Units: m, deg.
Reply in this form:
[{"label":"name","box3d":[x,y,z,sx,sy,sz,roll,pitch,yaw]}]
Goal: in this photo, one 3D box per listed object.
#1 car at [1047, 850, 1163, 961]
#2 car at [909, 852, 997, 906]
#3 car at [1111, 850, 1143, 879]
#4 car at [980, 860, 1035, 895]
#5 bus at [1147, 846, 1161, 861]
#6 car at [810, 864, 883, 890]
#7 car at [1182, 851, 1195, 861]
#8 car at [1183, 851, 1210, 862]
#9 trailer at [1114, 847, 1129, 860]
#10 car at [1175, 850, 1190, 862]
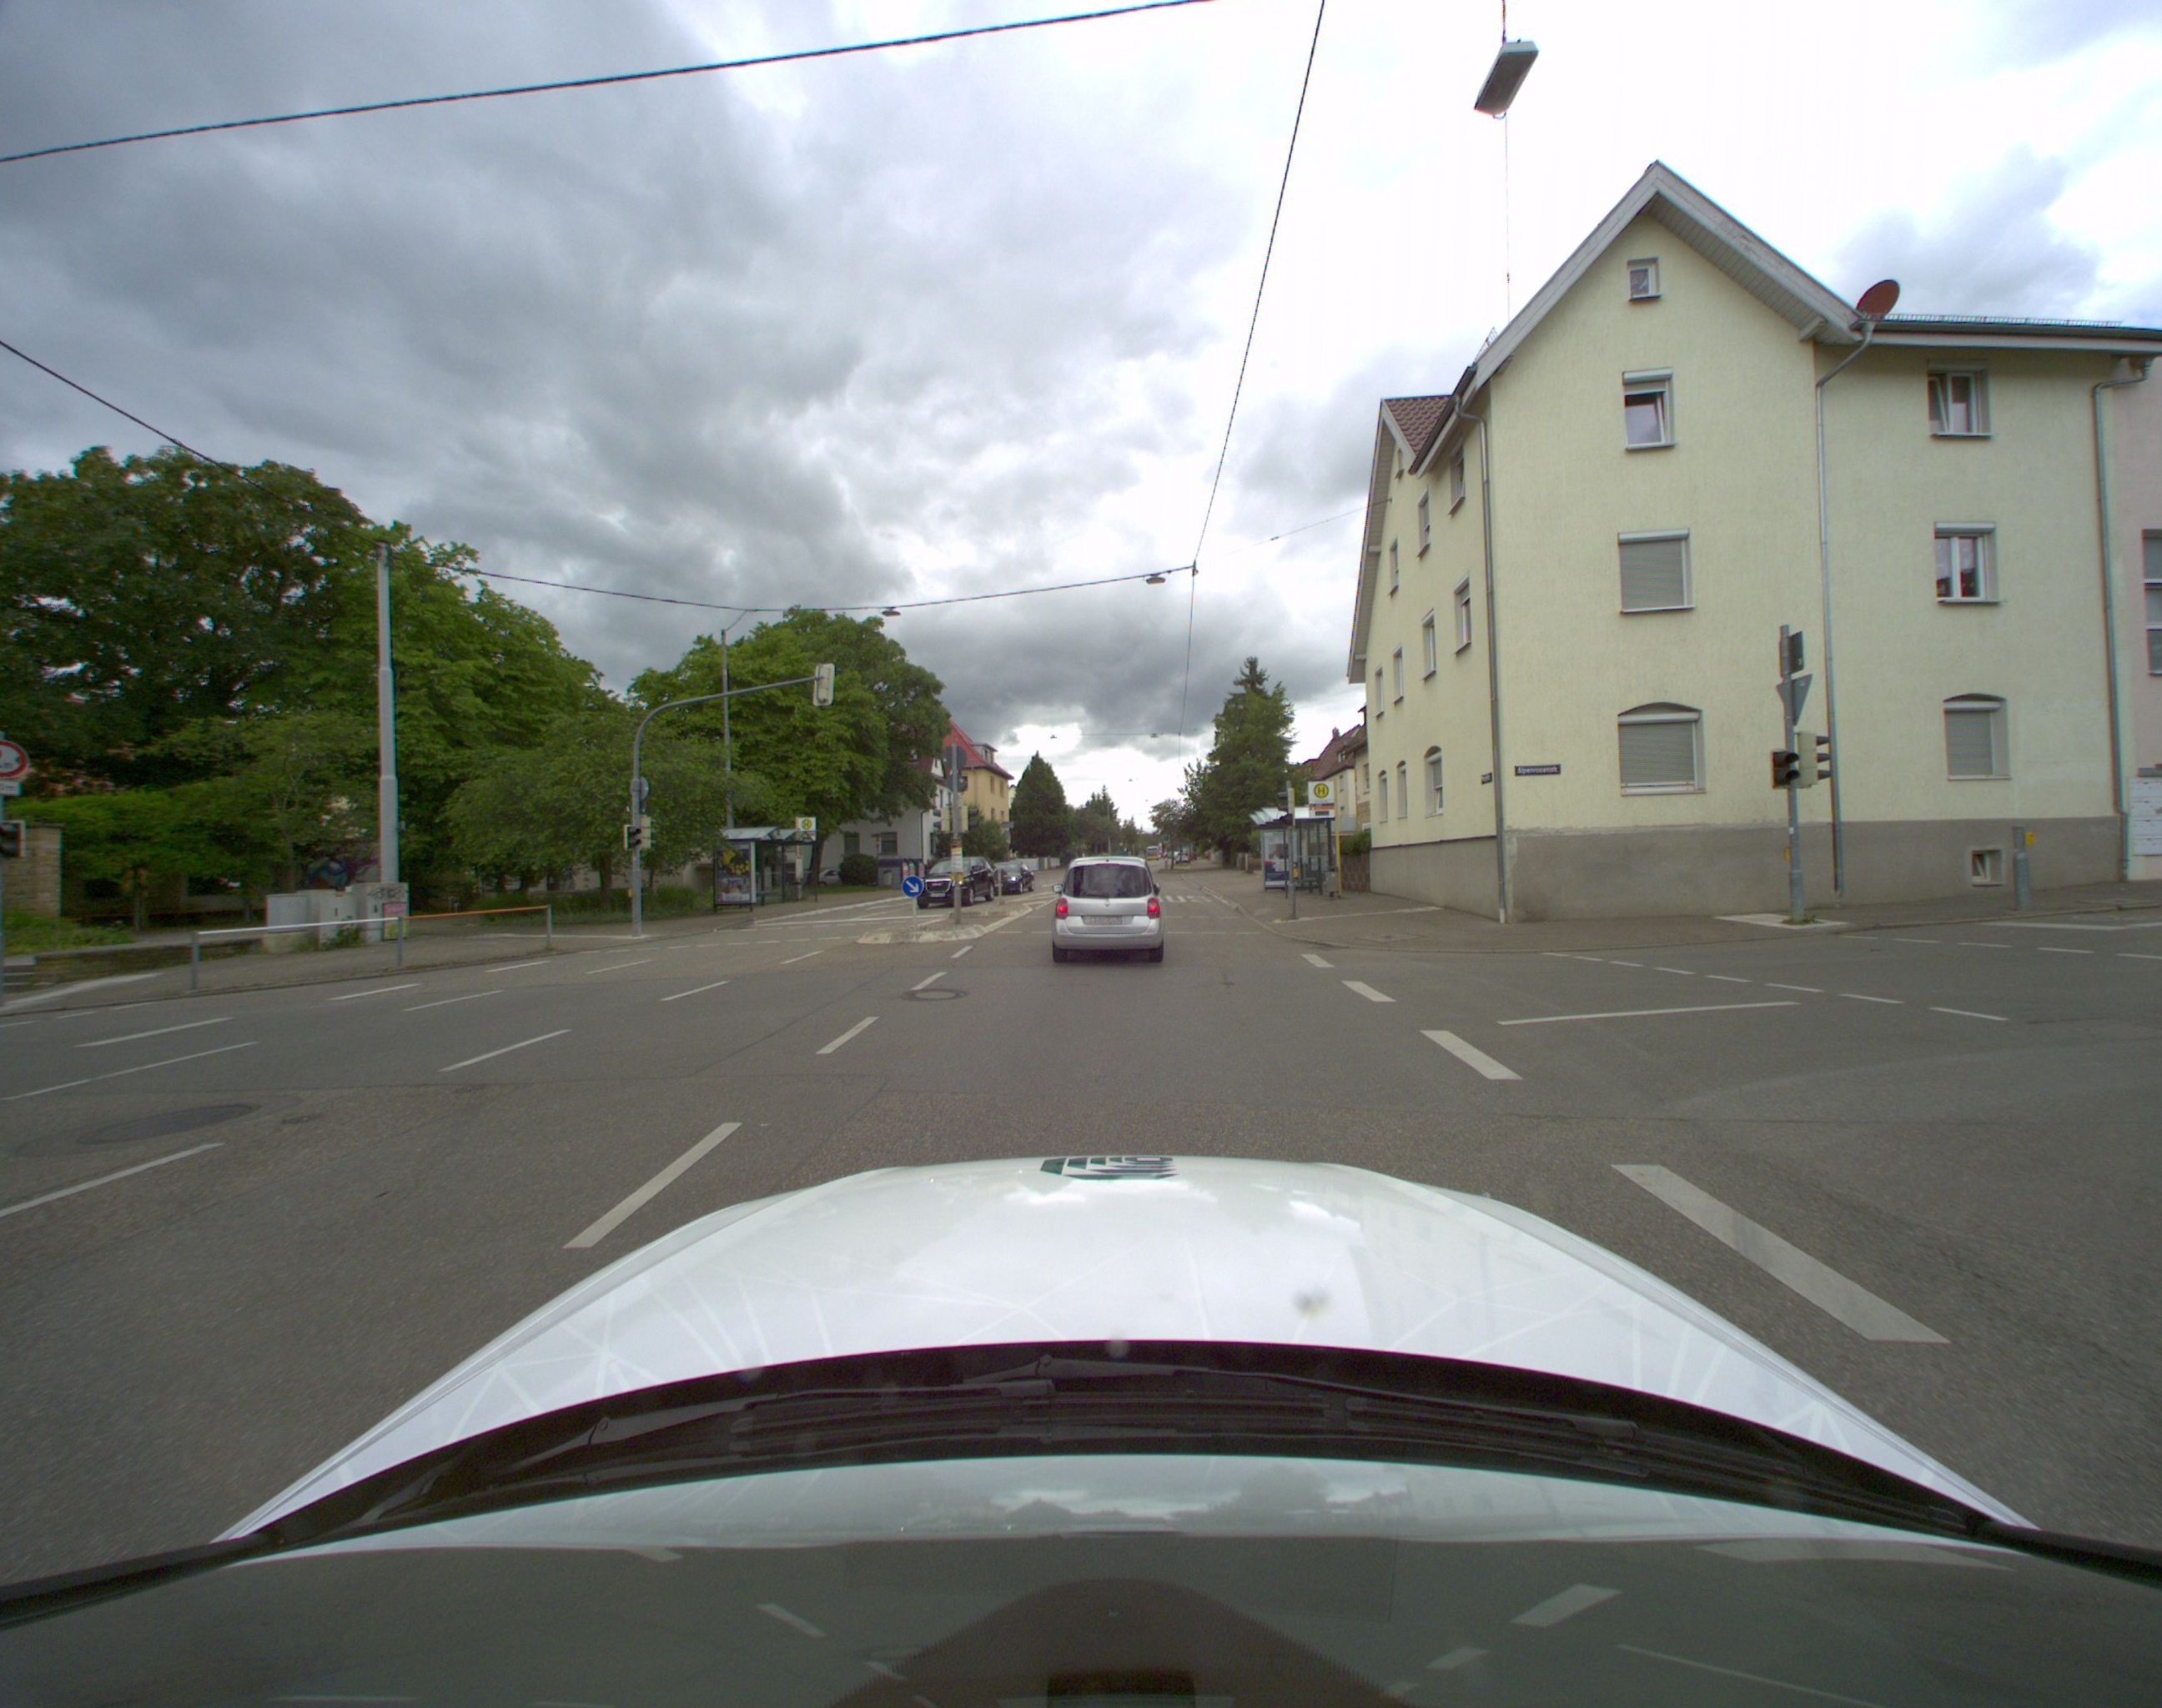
[{"label":"car","box3d":[0.361,0.764,13.516,1.624,1.557,4.000,0,-1,0]},{"label":"car","box3d":[-4.391,0.863,28.634,1.749,1.635,4.604,-4,-2,7]},{"label":"car","box3d":[2.878,0.651,51.368,1.822,1.675,3.575,-2,-1,1]},{"label":"car","box3d":[-3.182,1.022,36.139,1.556,1.420,4.138,-2,-1,7]},{"label":"bus","box3d":[16.887,-0.145,187.758,2.618,3.086,12.092,-3,0,7]},{"label":"car","box3d":[-14.741,1.432,51.324,3.967,1.332,1.725,-4,-2,5]},{"label":"car","box3d":[15.607,0.230,118.128,1.652,1.393,3.678,-2,0,10]},{"label":"car","box3d":[18.608,0.391,131.133,3.975,1.496,1.809,-5,-1,-1]},{"label":"trailer","box3d":[7.030,-0.044,140.357,2.300,2.087,5.883,0,-1,7]},{"label":"car","box3d":[12.409,0.263,99.434,1.640,1.382,4.009,-1,-1,9]}]
